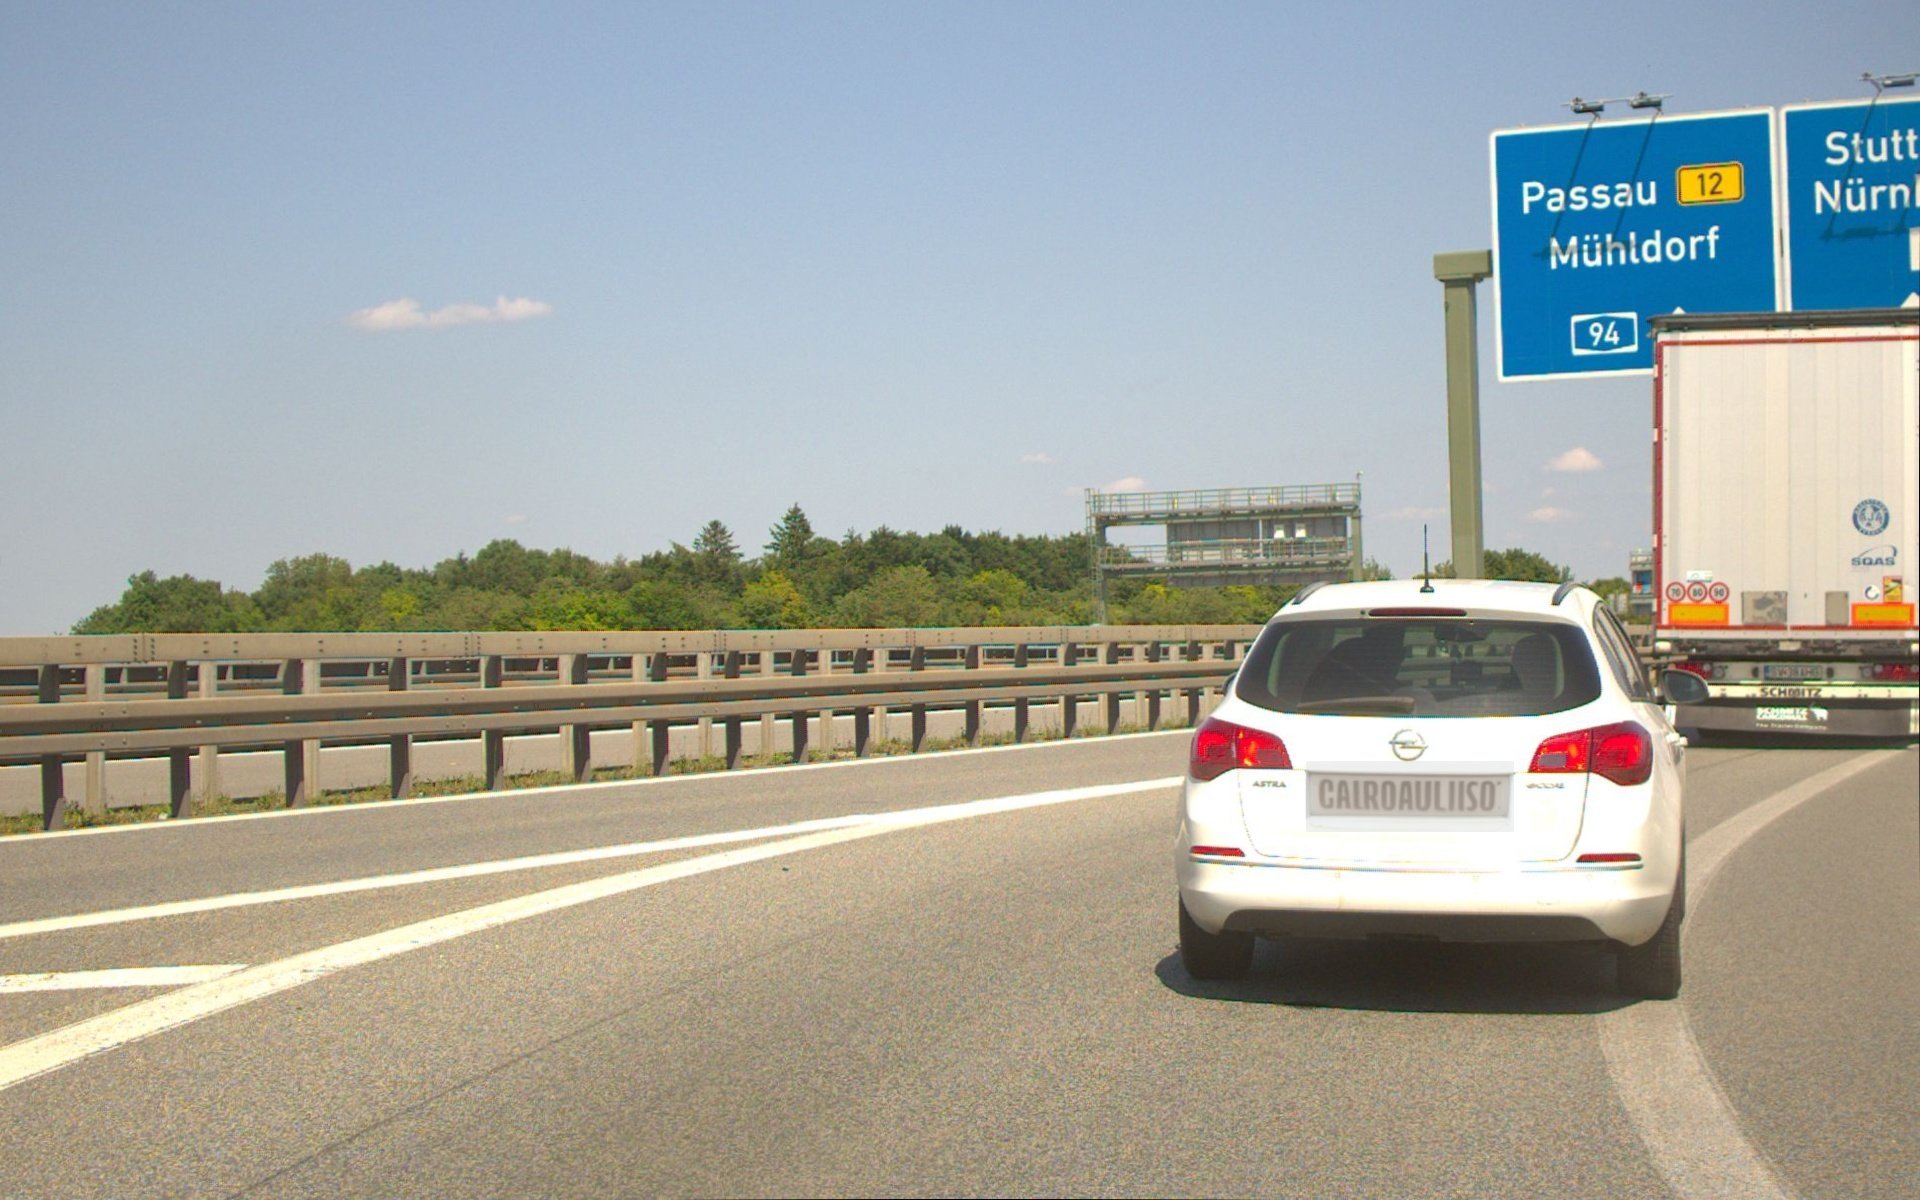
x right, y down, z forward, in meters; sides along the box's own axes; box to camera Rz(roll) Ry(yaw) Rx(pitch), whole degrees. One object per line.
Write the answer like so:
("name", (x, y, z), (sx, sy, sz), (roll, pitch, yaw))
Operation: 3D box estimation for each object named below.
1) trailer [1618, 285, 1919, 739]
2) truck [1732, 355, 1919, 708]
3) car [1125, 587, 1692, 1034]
("trailer", (9.389, -0.670, 37.009), (2.915, 4.131, 11.246), (0, -1, 19))
("truck", (11.830, -0.720, 43.760), (2.915, 4.131, 6.918), (0, -1, 21))
("car", (1.916, 0.699, 13.539), (1.855, 1.438, 4.369), (1, 0, 12))
